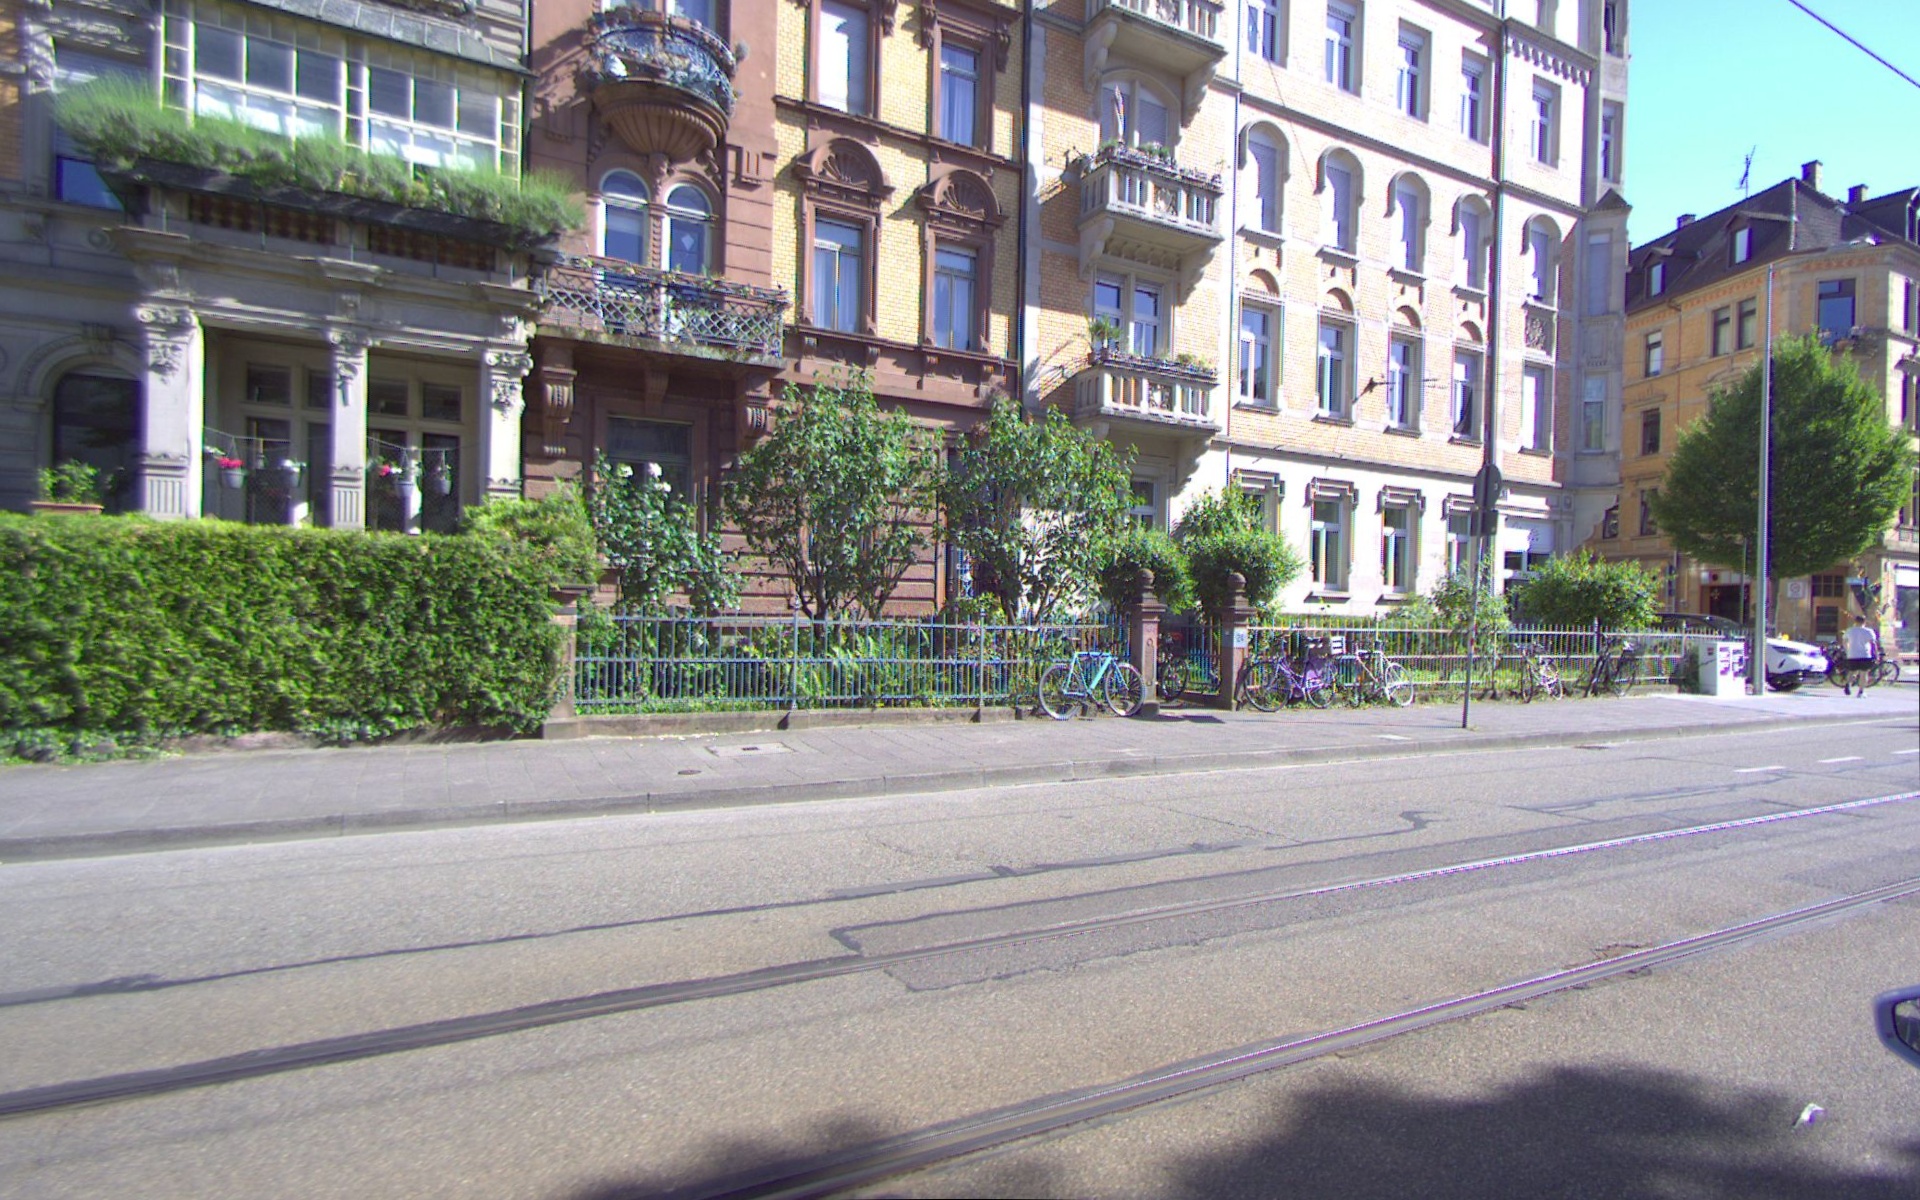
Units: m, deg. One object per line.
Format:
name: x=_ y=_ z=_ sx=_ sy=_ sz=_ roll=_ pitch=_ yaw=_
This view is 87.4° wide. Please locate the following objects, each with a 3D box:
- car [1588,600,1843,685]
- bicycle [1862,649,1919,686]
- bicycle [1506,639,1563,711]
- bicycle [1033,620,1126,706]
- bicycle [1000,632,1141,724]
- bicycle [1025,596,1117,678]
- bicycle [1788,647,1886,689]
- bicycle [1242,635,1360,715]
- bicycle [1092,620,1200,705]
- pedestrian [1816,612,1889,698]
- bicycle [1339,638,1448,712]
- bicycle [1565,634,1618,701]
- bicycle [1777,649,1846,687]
car: x=17.852 y=0.947 z=24.005 sx=1.940 sy=1.665 sz=4.431 roll=2 pitch=1 yaw=-25
bicycle: x=25.500 y=1.843 z=27.332 sx=1.270 sy=0.926 sz=0.620 roll=3 pitch=0 yaw=26
bicycle: x=9.898 y=1.262 z=17.285 sx=0.556 sy=1.047 sz=1.761 roll=6 pitch=5 yaw=36
bicycle: x=1.698 y=0.883 z=14.523 sx=0.473 sy=1.047 sz=1.567 roll=1 pitch=4 yaw=-29
bicycle: x=1.402 y=0.948 z=12.640 sx=1.745 sy=1.047 sz=0.560 roll=0 pitch=2 yaw=-28
bicycle: x=1.807 y=0.581 z=16.660 sx=0.558 sy=1.170 sz=1.754 roll=1 pitch=4 yaw=-29
bicycle: x=22.473 y=1.732 z=25.776 sx=1.755 sy=0.926 sz=0.620 roll=3 pitch=0 yaw=26
bicycle: x=4.904 y=1.053 z=14.413 sx=1.746 sy=1.047 sz=0.560 roll=1 pitch=2 yaw=-30
bicycle: x=2.738 y=0.898 z=14.976 sx=0.558 sy=1.047 sz=1.740 roll=1 pitch=4 yaw=-29
pedestrian: x=19.215 y=1.179 z=21.630 sx=1.070 sy=1.746 sz=0.825 roll=3 pitch=1 yaw=-31
bicycle: x=6.636 y=1.124 z=15.347 sx=1.746 sy=1.047 sz=0.560 roll=1 pitch=2 yaw=-30
bicycle: x=11.361 y=1.186 z=18.112 sx=0.554 sy=1.047 sz=1.766 roll=2 pitch=2 yaw=25
bicycle: x=23.209 y=1.843 z=27.403 sx=1.268 sy=0.926 sz=0.621 roll=3 pitch=0 yaw=10
